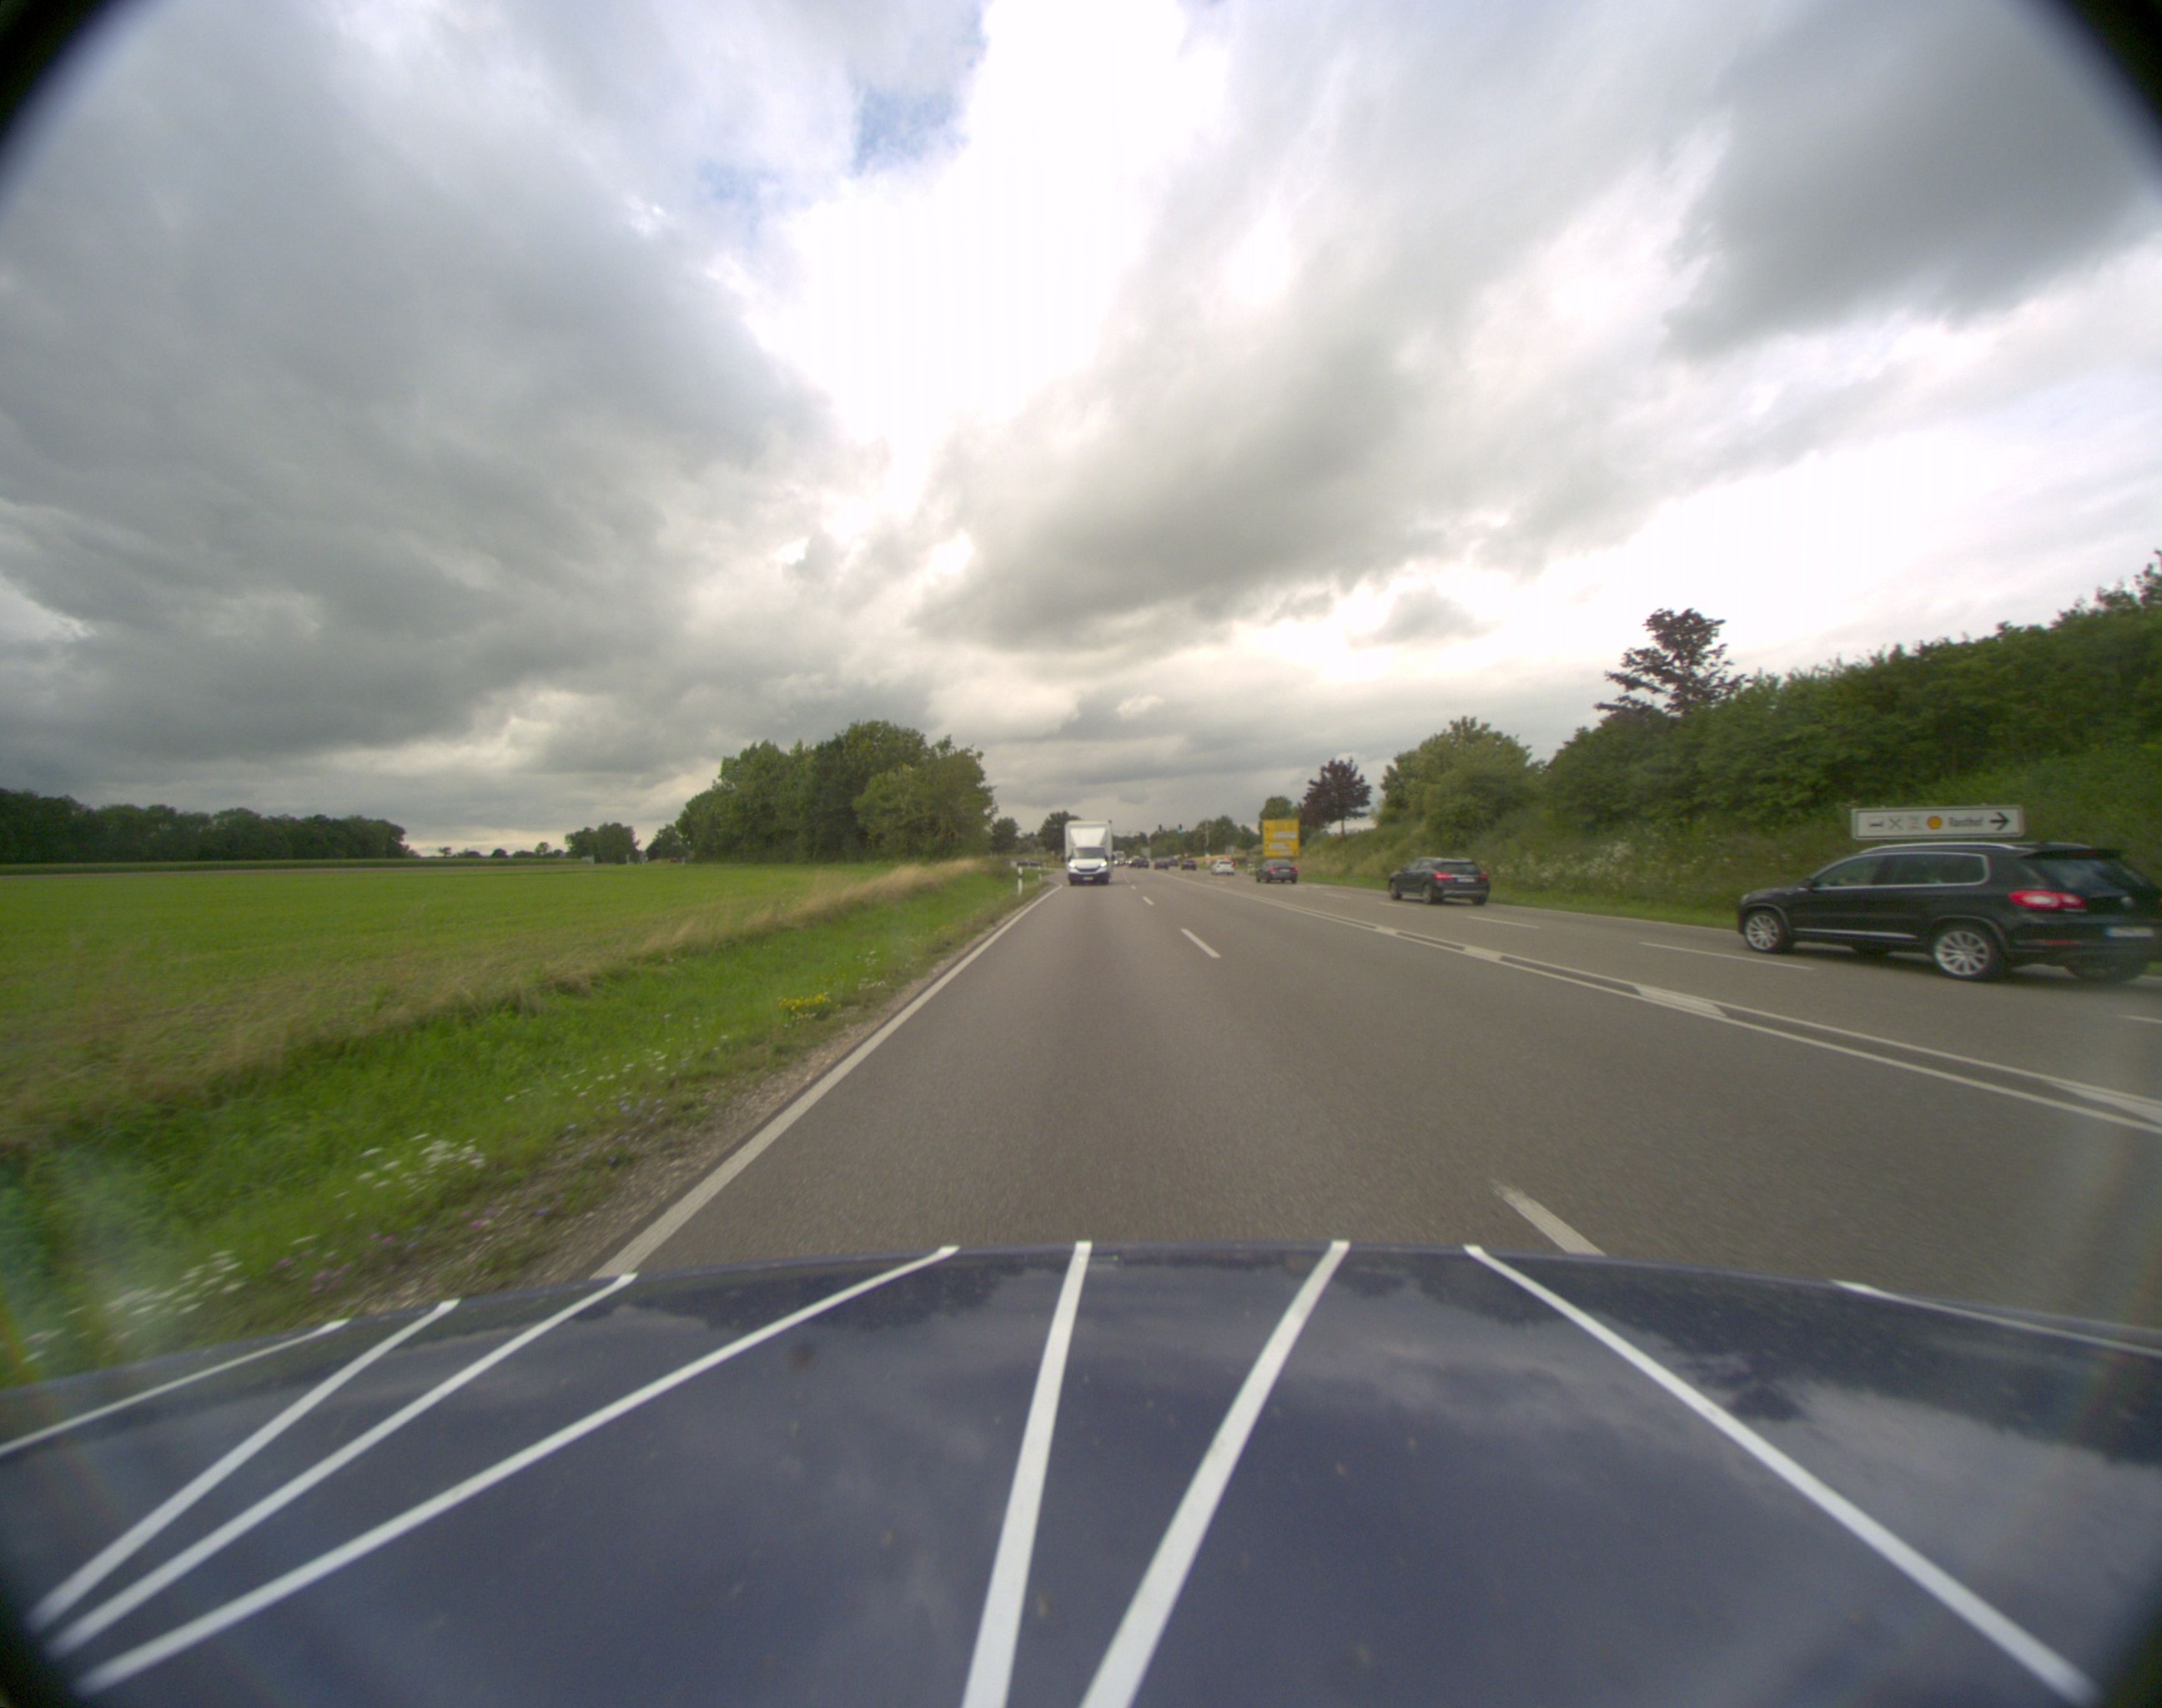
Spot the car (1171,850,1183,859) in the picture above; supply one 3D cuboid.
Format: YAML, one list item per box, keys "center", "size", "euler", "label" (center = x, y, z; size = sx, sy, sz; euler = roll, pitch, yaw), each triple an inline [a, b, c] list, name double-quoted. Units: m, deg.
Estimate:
- center: [18.603, 0.102, 147.413]
  size: [1.855, 1.706, 4.129]
  euler: [-2, 0, 1]
  label: "car"

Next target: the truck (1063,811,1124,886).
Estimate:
- center: [0.550, -0.277, 42.206]
  size: [2.935, 3.652, 8.442]
  euler: [-2, 0, -1]
  label: "truck"

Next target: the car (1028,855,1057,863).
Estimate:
- center: [-6.148, 0.729, 121.804]
  size: [4.344, 1.214, 1.866]
  euler: [-1, 0, 6]
  label: "car"

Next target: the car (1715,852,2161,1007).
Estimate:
- center: [11.348, 0.807, 10.272]
  size: [1.798, 1.624, 4.516]
  euler: [1, 0, 1]
  label: "car"

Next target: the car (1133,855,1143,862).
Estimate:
- center: [10.542, 0.784, 141.356]
  size: [1.860, 1.274, 4.001]
  euler: [0, 0, 3]
  label: "car"

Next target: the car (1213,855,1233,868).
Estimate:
- center: [17.224, 0.877, 92.175]
  size: [1.860, 1.586, 4.399]
  euler: [0, 0, 3]
  label: "car"

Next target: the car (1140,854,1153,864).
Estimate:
- center: [10.033, 0.749, 117.034]
  size: [1.860, 1.440, 4.001]
  euler: [0, 0, 3]
  label: "car"

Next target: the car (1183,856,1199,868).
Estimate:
- center: [14.726, 1.048, 102.174]
  size: [1.727, 1.472, 4.660]
  euler: [0, 0, 3]
  label: "car"

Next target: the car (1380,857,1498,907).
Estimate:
- center: [11.853, 0.851, 25.564]
  size: [1.798, 1.502, 4.705]
  euler: [1, 0, 1]
  label: "car"

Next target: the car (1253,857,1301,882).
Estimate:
- center: [12.037, 0.927, 46.993]
  size: [1.798, 1.397, 4.705]
  euler: [1, 0, 1]
  label: "car"

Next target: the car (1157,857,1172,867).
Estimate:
- center: [11.634, 1.101, 105.808]
  size: [1.860, 1.399, 4.186]
  euler: [0, 0, 3]
  label: "car"

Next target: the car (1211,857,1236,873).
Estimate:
- center: [13.343, 1.007, 71.301]
  size: [1.612, 1.406, 4.056]
  euler: [-1, 0, 1]
  label: "car"
